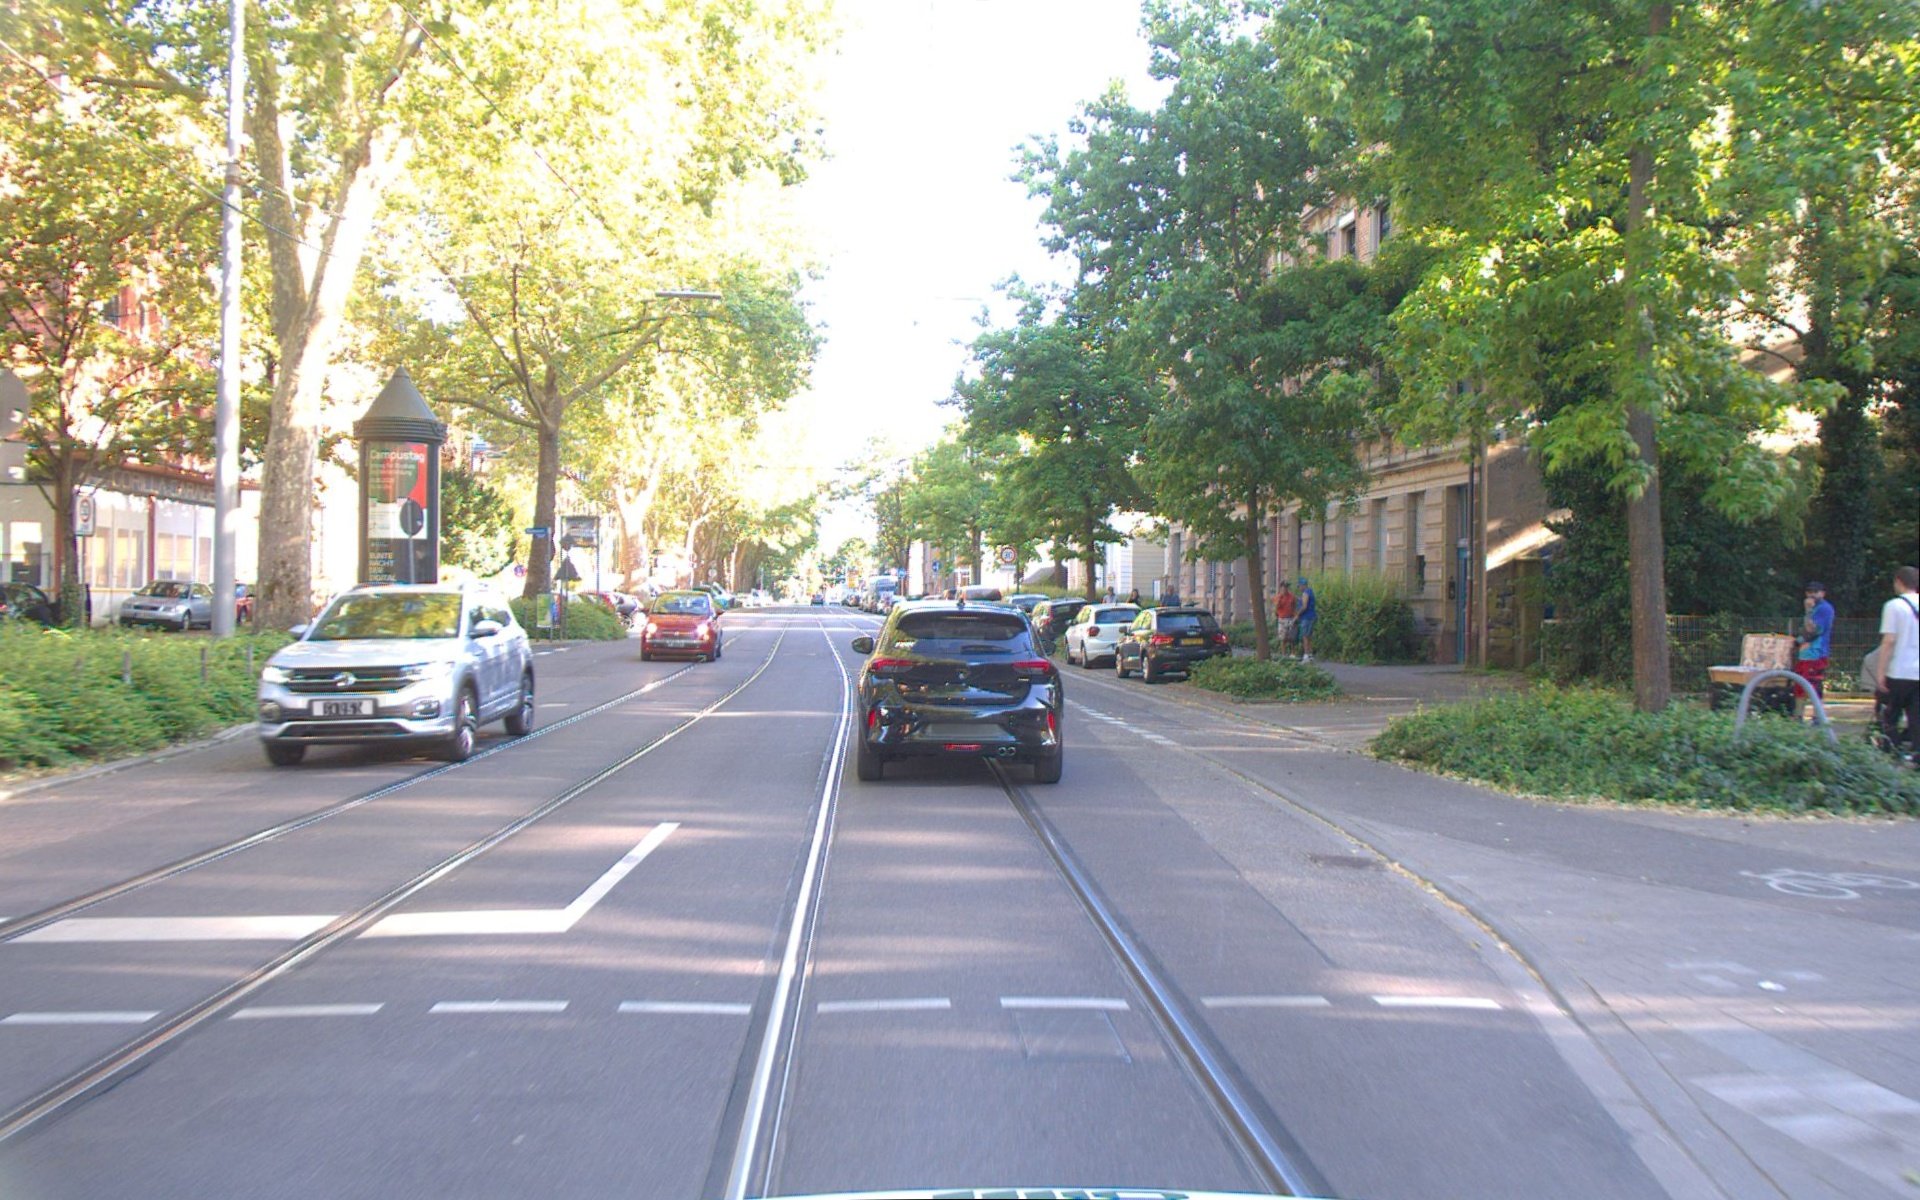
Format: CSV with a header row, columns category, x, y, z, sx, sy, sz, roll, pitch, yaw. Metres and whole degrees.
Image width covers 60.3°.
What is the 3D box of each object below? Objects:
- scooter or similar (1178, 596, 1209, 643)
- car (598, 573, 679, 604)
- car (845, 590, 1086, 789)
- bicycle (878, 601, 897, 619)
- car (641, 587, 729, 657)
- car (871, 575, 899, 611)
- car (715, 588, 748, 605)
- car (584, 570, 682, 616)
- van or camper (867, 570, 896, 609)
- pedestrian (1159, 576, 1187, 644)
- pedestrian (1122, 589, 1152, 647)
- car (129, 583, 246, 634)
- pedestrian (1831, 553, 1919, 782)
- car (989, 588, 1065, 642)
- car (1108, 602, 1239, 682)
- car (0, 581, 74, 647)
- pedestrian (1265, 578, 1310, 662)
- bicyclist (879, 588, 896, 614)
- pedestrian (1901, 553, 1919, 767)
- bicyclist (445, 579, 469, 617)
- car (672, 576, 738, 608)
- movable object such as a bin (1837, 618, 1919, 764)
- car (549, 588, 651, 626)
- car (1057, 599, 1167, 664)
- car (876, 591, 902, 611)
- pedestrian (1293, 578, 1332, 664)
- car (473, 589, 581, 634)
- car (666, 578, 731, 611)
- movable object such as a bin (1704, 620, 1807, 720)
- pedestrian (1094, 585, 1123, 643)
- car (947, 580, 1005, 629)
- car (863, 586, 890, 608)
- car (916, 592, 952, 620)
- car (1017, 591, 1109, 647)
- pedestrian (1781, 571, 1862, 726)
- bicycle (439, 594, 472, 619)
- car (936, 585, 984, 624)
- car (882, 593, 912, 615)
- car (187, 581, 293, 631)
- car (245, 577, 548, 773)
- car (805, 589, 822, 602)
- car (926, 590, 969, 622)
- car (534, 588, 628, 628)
category,x,y,z,sx,sy,sz,roll,pitch,yaw
scooter or similar,6.460,0.528,45.816,0.564,1.268,1.334,1,0,-4
car,-17.639,-0.631,90.926,4.219,1.635,1.922,1,0,-8
car,-0.091,0.682,14.538,1.729,1.486,3.946,1,0,-5
bicycle,-4.354,0.576,98.980,0.949,1.016,2.579,1,0,-7
car,-6.087,0.471,36.865,1.628,1.469,3.470,1,0,-5
car,-6.145,-0.585,135.566,2.045,2.820,4.692,-1,1,-6
car,-28.801,-0.443,208.515,3.905,2.049,2.000,1,0,1
car,-17.332,-0.346,87.929,4.940,2.299,2.081,1,0,-9
van or camper,-6.781,-0.880,142.093,2.210,3.272,5.524,-1,0,-5
pedestrian,5.819,0.260,45.161,0.711,1.824,0.601,1,0,5
pedestrian,5.347,0.540,50.096,0.712,1.739,0.855,1,0,-5
car,-22.976,0.250,49.358,1.910,1.432,3.888,1,0,-5
pedestrian,7.772,0.534,13.660,0.710,1.824,0.854,-1,0,5
car,2.121,0.464,53.274,1.847,1.595,4.237,-2,0,-5
car,4.163,0.784,32.814,1.641,1.437,3.837,-2,0,-7
car,-23.005,0.309,40.089,1.782,1.519,3.984,1,0,-15
pedestrian,7.194,0.428,36.334,0.719,1.824,0.593,1,0,-34
bicyclist,-4.346,0.068,98.954,0.940,1.525,1.092,1,0,-7
pedestrian,8.511,0.510,13.862,0.710,1.824,0.968,-1,0,5
bicyclist,-20.774,-0.095,68.328,0.785,1.533,1.114,1,0,-10
car,-22.485,-0.706,146.070,5.525,2.638,2.195,1,0,-2
movable object such as a bin,8.511,0.790,14.881,0.625,1.223,1.306,-1,0,5
car,-14.870,0.286,68.505,3.910,1.490,1.852,1,0,-6
car,3.559,0.705,39.351,1.847,1.391,4.102,-2,0,-6
car,-5.526,0.105,128.396,1.768,1.459,3.995,-1,-1,-6
pedestrian,7.579,0.447,35.579,0.587,1.824,0.727,1,0,-8
car,-15.197,0.394,58.176,3.352,1.490,1.696,1,0,-4
car,-21.069,-0.428,133.447,4.939,2.415,2.079,-3,0,-5
movable object such as a bin,9.529,0.830,19.833,0.654,1.146,0.954,1,0,-13
pedestrian,4.488,0.419,50.020,0.712,1.722,0.956,1,0,-4
car,0.627,0.184,68.724,1.847,1.883,4.961,-2,0,-5
car,-7.551,-0.270,149.241,2.210,1.873,5.524,-1,0,-5
car,-1.461,0.311,92.395,1.670,1.448,3.974,-3,0,-5
car,2.954,0.531,48.589,1.848,1.492,4.587,-2,0,-7
pedestrian,9.911,0.551,19.038,0.608,1.756,0.551,1,0,-21
bicycle,-20.798,0.261,68.264,0.950,1.016,2.577,1,0,-9
car,-0.035,0.197,77.906,1.849,1.797,4.672,0,0,-5
car,-4.543,0.289,118.168,1.847,1.459,4.525,-2,0,-5
car,-23.311,0.181,53.695,1.910,1.513,3.996,1,0,-5
car,-5.199,0.618,15.832,1.780,1.596,4.112,-1,0,-5
car,-20.440,-0.624,231.166,2.209,1.873,5.527,-1,0,-3
car,-0.651,0.302,83.747,1.679,1.540,4.031,-2,0,-7
car,-15.001,0.300,65.632,3.352,1.490,1.758,1,0,-4
